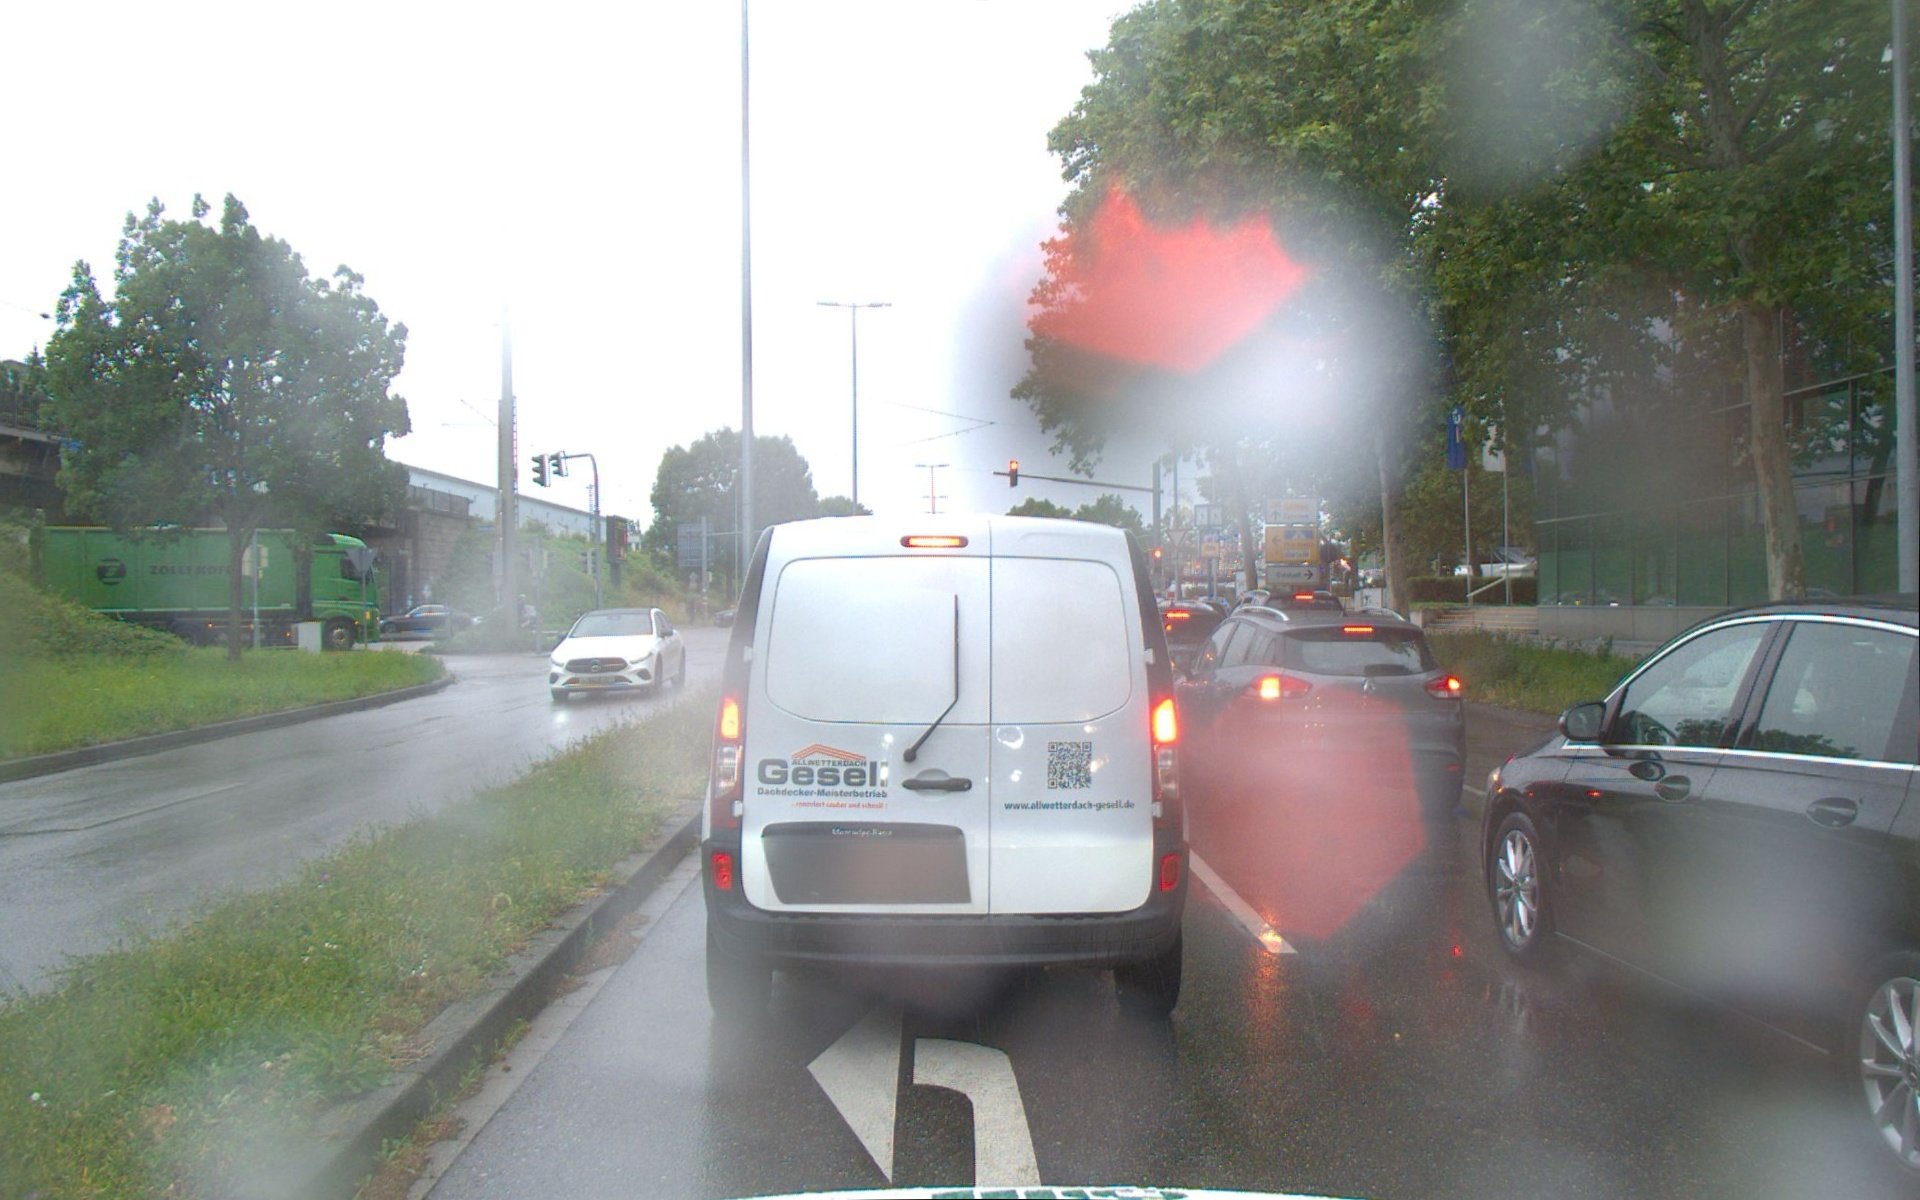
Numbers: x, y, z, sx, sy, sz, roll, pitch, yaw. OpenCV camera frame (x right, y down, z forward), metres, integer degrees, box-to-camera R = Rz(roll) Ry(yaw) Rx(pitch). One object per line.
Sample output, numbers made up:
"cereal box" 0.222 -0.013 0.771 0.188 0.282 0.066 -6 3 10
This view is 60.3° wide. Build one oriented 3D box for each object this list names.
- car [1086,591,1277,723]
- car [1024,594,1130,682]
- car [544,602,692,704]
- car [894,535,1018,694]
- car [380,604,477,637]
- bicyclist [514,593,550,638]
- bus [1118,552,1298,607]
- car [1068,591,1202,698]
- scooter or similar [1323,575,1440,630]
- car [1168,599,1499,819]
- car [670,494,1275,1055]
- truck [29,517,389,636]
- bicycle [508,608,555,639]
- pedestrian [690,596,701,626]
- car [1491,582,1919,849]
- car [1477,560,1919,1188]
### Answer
"car" 2.661 0.631 20.655 1.816 1.486 3.842 0 0 -1
"car" 2.307 0.736 33.539 1.816 1.678 3.842 0 0 -1
"car" -5.773 0.863 28.354 1.699 1.546 4.046 -3 -1 -1
"car" -0.086 0.200 26.345 1.816 2.336 3.842 0 0 -1
"car" -23.746 0.913 73.983 3.829 1.409 1.659 0 0 -38
"bicyclist" -14.314 0.516 55.276 1.028 1.475 0.723 -1 1 -26
"bus" 16.596 -1.385 111.144 11.727 3.483 2.315 -1 1 -1
"car" 2.872 0.684 27.885 1.816 1.678 3.842 0 0 -1
"scooter or similar" 19.670 0.108 77.352 1.878 2.489 5.239 0 0 -41
"car" 2.768 0.738 13.101 1.649 1.433 3.842 1 0 -2
"car" 0.012 0.543 7.634 1.953 1.807 4.584 0 0 -1
"truck" -23.053 -0.706 51.294 9.956 3.430 2.316 0 0 -37
"bicycle" -14.344 0.766 55.339 1.027 0.968 2.866 -1 1 -25
"pedestrian" -15.370 0.632 96.029 0.532 1.746 0.563 1 -1 -5
"car" 5.594 0.711 12.419 1.838 1.641 3.999 2 1 -1
"car" 3.245 0.692 5.439 1.712 1.582 4.089 0 0 -2
